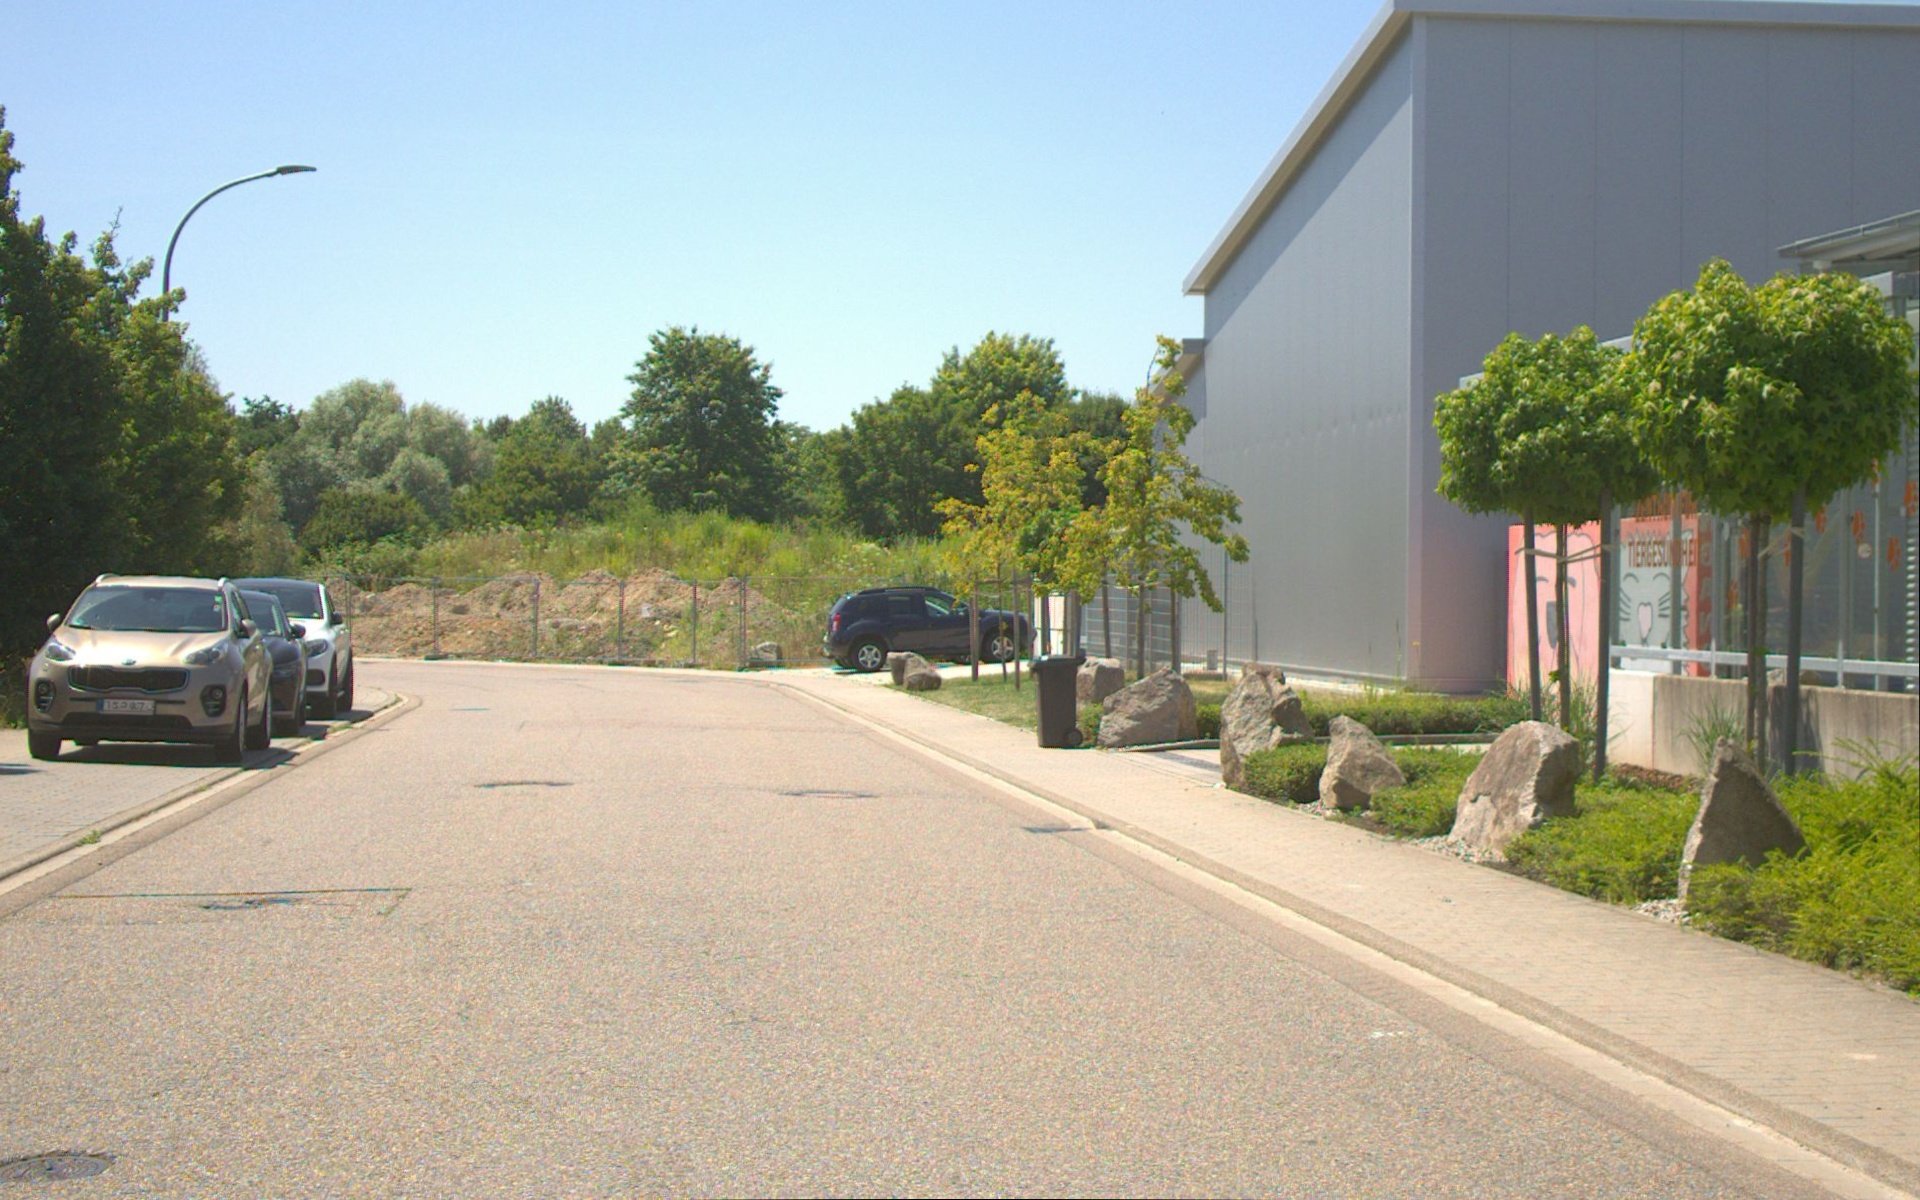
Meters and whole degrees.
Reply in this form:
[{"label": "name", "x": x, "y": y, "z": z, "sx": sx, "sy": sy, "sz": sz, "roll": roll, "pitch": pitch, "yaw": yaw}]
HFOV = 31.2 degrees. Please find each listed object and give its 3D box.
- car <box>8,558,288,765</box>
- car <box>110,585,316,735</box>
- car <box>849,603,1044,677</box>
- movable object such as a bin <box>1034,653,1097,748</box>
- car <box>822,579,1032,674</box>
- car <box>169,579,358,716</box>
[{"label": "car", "x": -7.398, "y": 0.512, "z": 31.718, "sx": 1.912, "sy": 1.707, "sz": 4.414, "roll": 2, "pitch": 0, "yaw": -6}, {"label": "car", "x": -8.258, "y": 0.625, "z": 38.326, "sx": 1.912, "sy": 1.486, "sz": 4.414, "roll": 2, "pitch": 0, "yaw": -9}, {"label": "car", "x": -0.310, "y": 0.852, "z": 74.422, "sx": 4.009, "sy": 1.457, "sz": 1.893, "roll": -2, "pitch": 0, "yaw": -7}, {"label": "movable object such as a bin", "x": 1.069, "y": 1.015, "z": 34.928, "sx": 0.558, "sy": 0.943, "sz": 0.539, "roll": 0, "pitch": 0, "yaw": -7}, {"label": "car", "x": -0.693, "y": 0.522, "z": 69.742, "sx": 4.009, "sy": 1.650, "sz": 1.858, "roll": -4, "pitch": 1, "yaw": -6}, {"label": "car", "x": -8.828, "y": 0.562, "z": 43.917, "sx": 1.912, "sy": 1.650, "sz": 4.755, "roll": 0, "pitch": 0, "yaw": -6}]
